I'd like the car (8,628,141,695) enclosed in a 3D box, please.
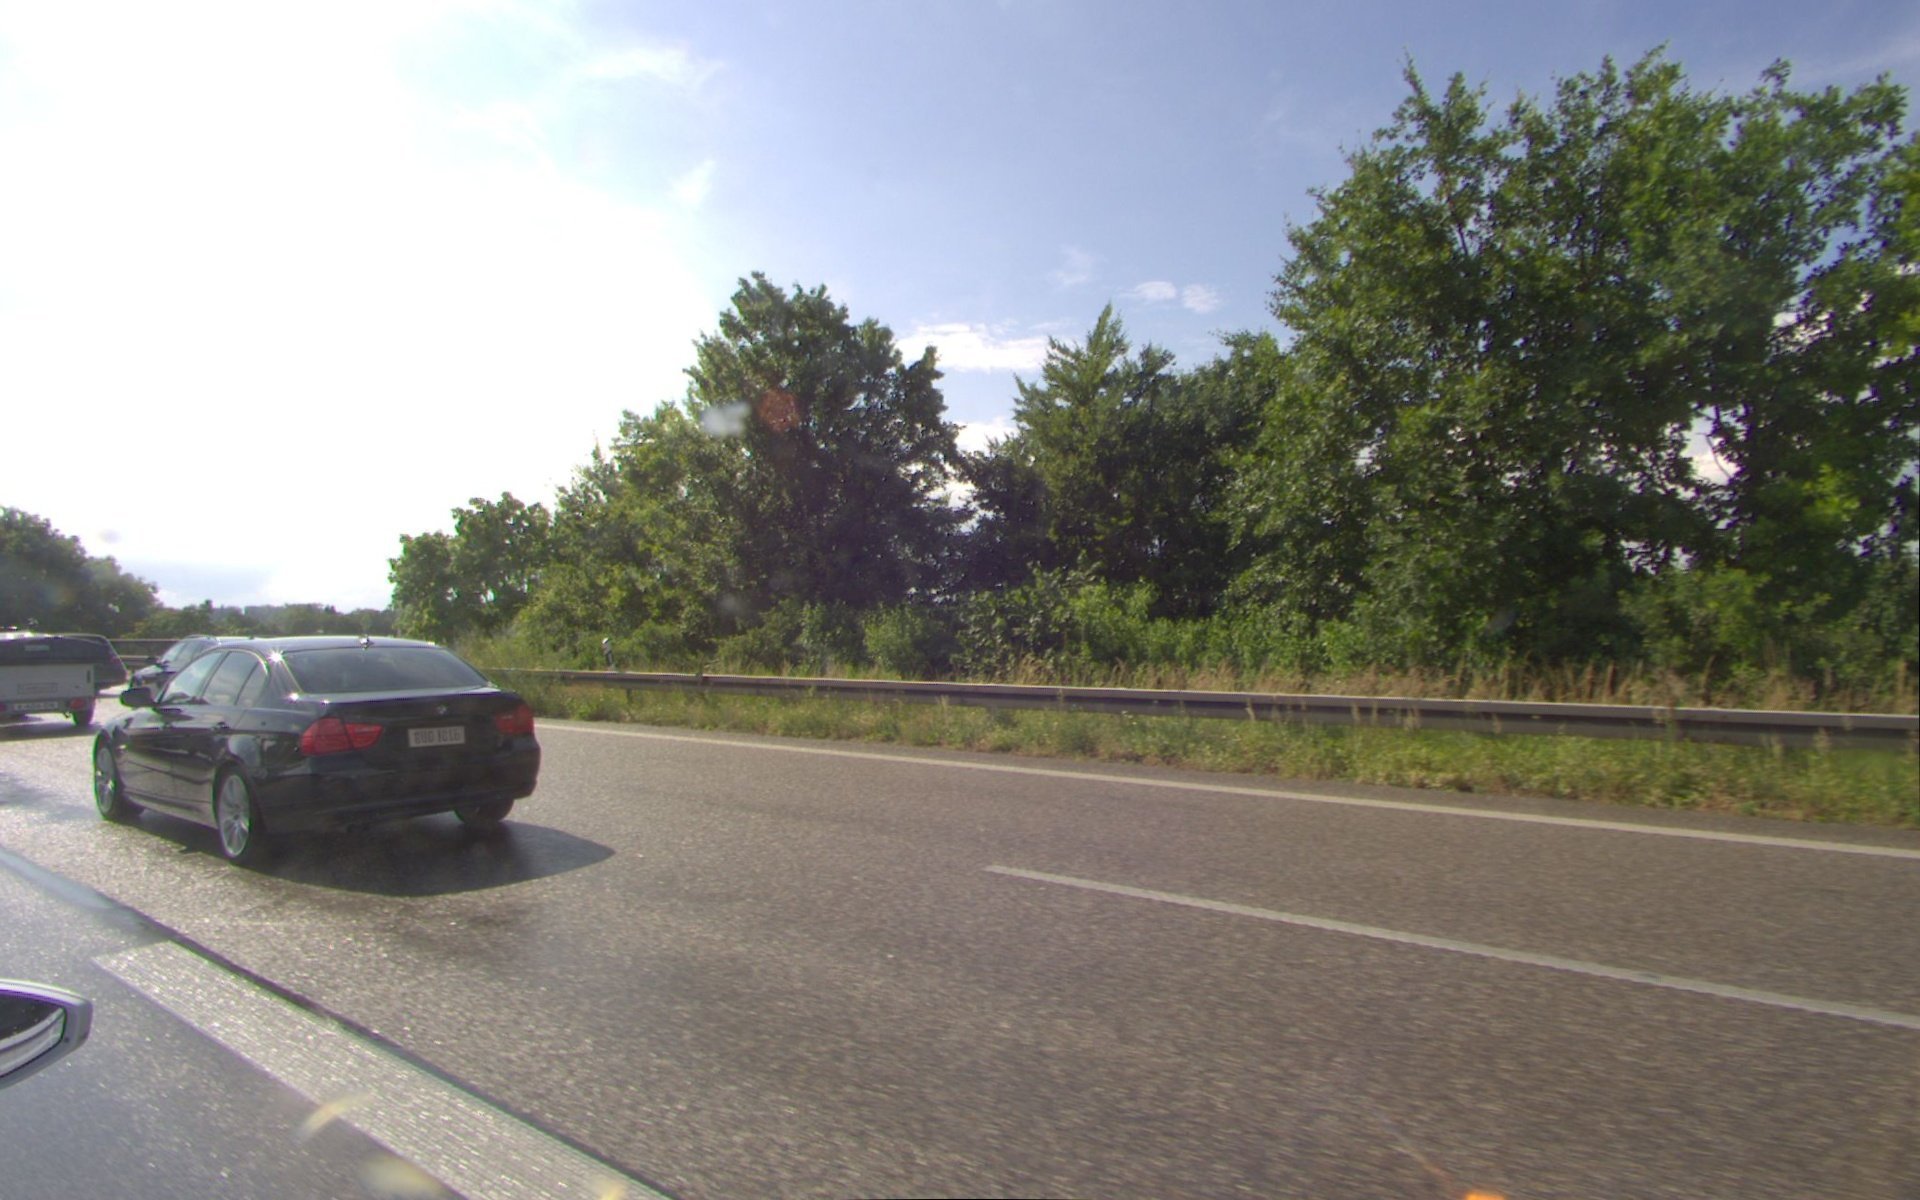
[{"bbox_3d":[-21.737,1.452,24.555,3.623,1.502,1.667,-1,-1,35],"label":"car"}]

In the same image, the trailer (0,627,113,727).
[{"bbox_3d":[-15.494,1.177,16.153,4.092,1.460,1.849,-1,-1,35],"label":"trailer"}]

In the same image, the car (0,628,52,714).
[{"bbox_3d":[-18.288,1.250,18.157,4.201,1.460,1.849,-1,-1,35],"label":"car"}]

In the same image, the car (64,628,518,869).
[{"bbox_3d":[-5.312,0.946,7.820,3.785,1.439,1.735,-1,-1,35],"label":"car"}]

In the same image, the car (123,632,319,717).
[{"bbox_3d":[-13.759,1.297,18.579,4.234,1.419,1.765,-1,-2,36],"label":"car"}]
